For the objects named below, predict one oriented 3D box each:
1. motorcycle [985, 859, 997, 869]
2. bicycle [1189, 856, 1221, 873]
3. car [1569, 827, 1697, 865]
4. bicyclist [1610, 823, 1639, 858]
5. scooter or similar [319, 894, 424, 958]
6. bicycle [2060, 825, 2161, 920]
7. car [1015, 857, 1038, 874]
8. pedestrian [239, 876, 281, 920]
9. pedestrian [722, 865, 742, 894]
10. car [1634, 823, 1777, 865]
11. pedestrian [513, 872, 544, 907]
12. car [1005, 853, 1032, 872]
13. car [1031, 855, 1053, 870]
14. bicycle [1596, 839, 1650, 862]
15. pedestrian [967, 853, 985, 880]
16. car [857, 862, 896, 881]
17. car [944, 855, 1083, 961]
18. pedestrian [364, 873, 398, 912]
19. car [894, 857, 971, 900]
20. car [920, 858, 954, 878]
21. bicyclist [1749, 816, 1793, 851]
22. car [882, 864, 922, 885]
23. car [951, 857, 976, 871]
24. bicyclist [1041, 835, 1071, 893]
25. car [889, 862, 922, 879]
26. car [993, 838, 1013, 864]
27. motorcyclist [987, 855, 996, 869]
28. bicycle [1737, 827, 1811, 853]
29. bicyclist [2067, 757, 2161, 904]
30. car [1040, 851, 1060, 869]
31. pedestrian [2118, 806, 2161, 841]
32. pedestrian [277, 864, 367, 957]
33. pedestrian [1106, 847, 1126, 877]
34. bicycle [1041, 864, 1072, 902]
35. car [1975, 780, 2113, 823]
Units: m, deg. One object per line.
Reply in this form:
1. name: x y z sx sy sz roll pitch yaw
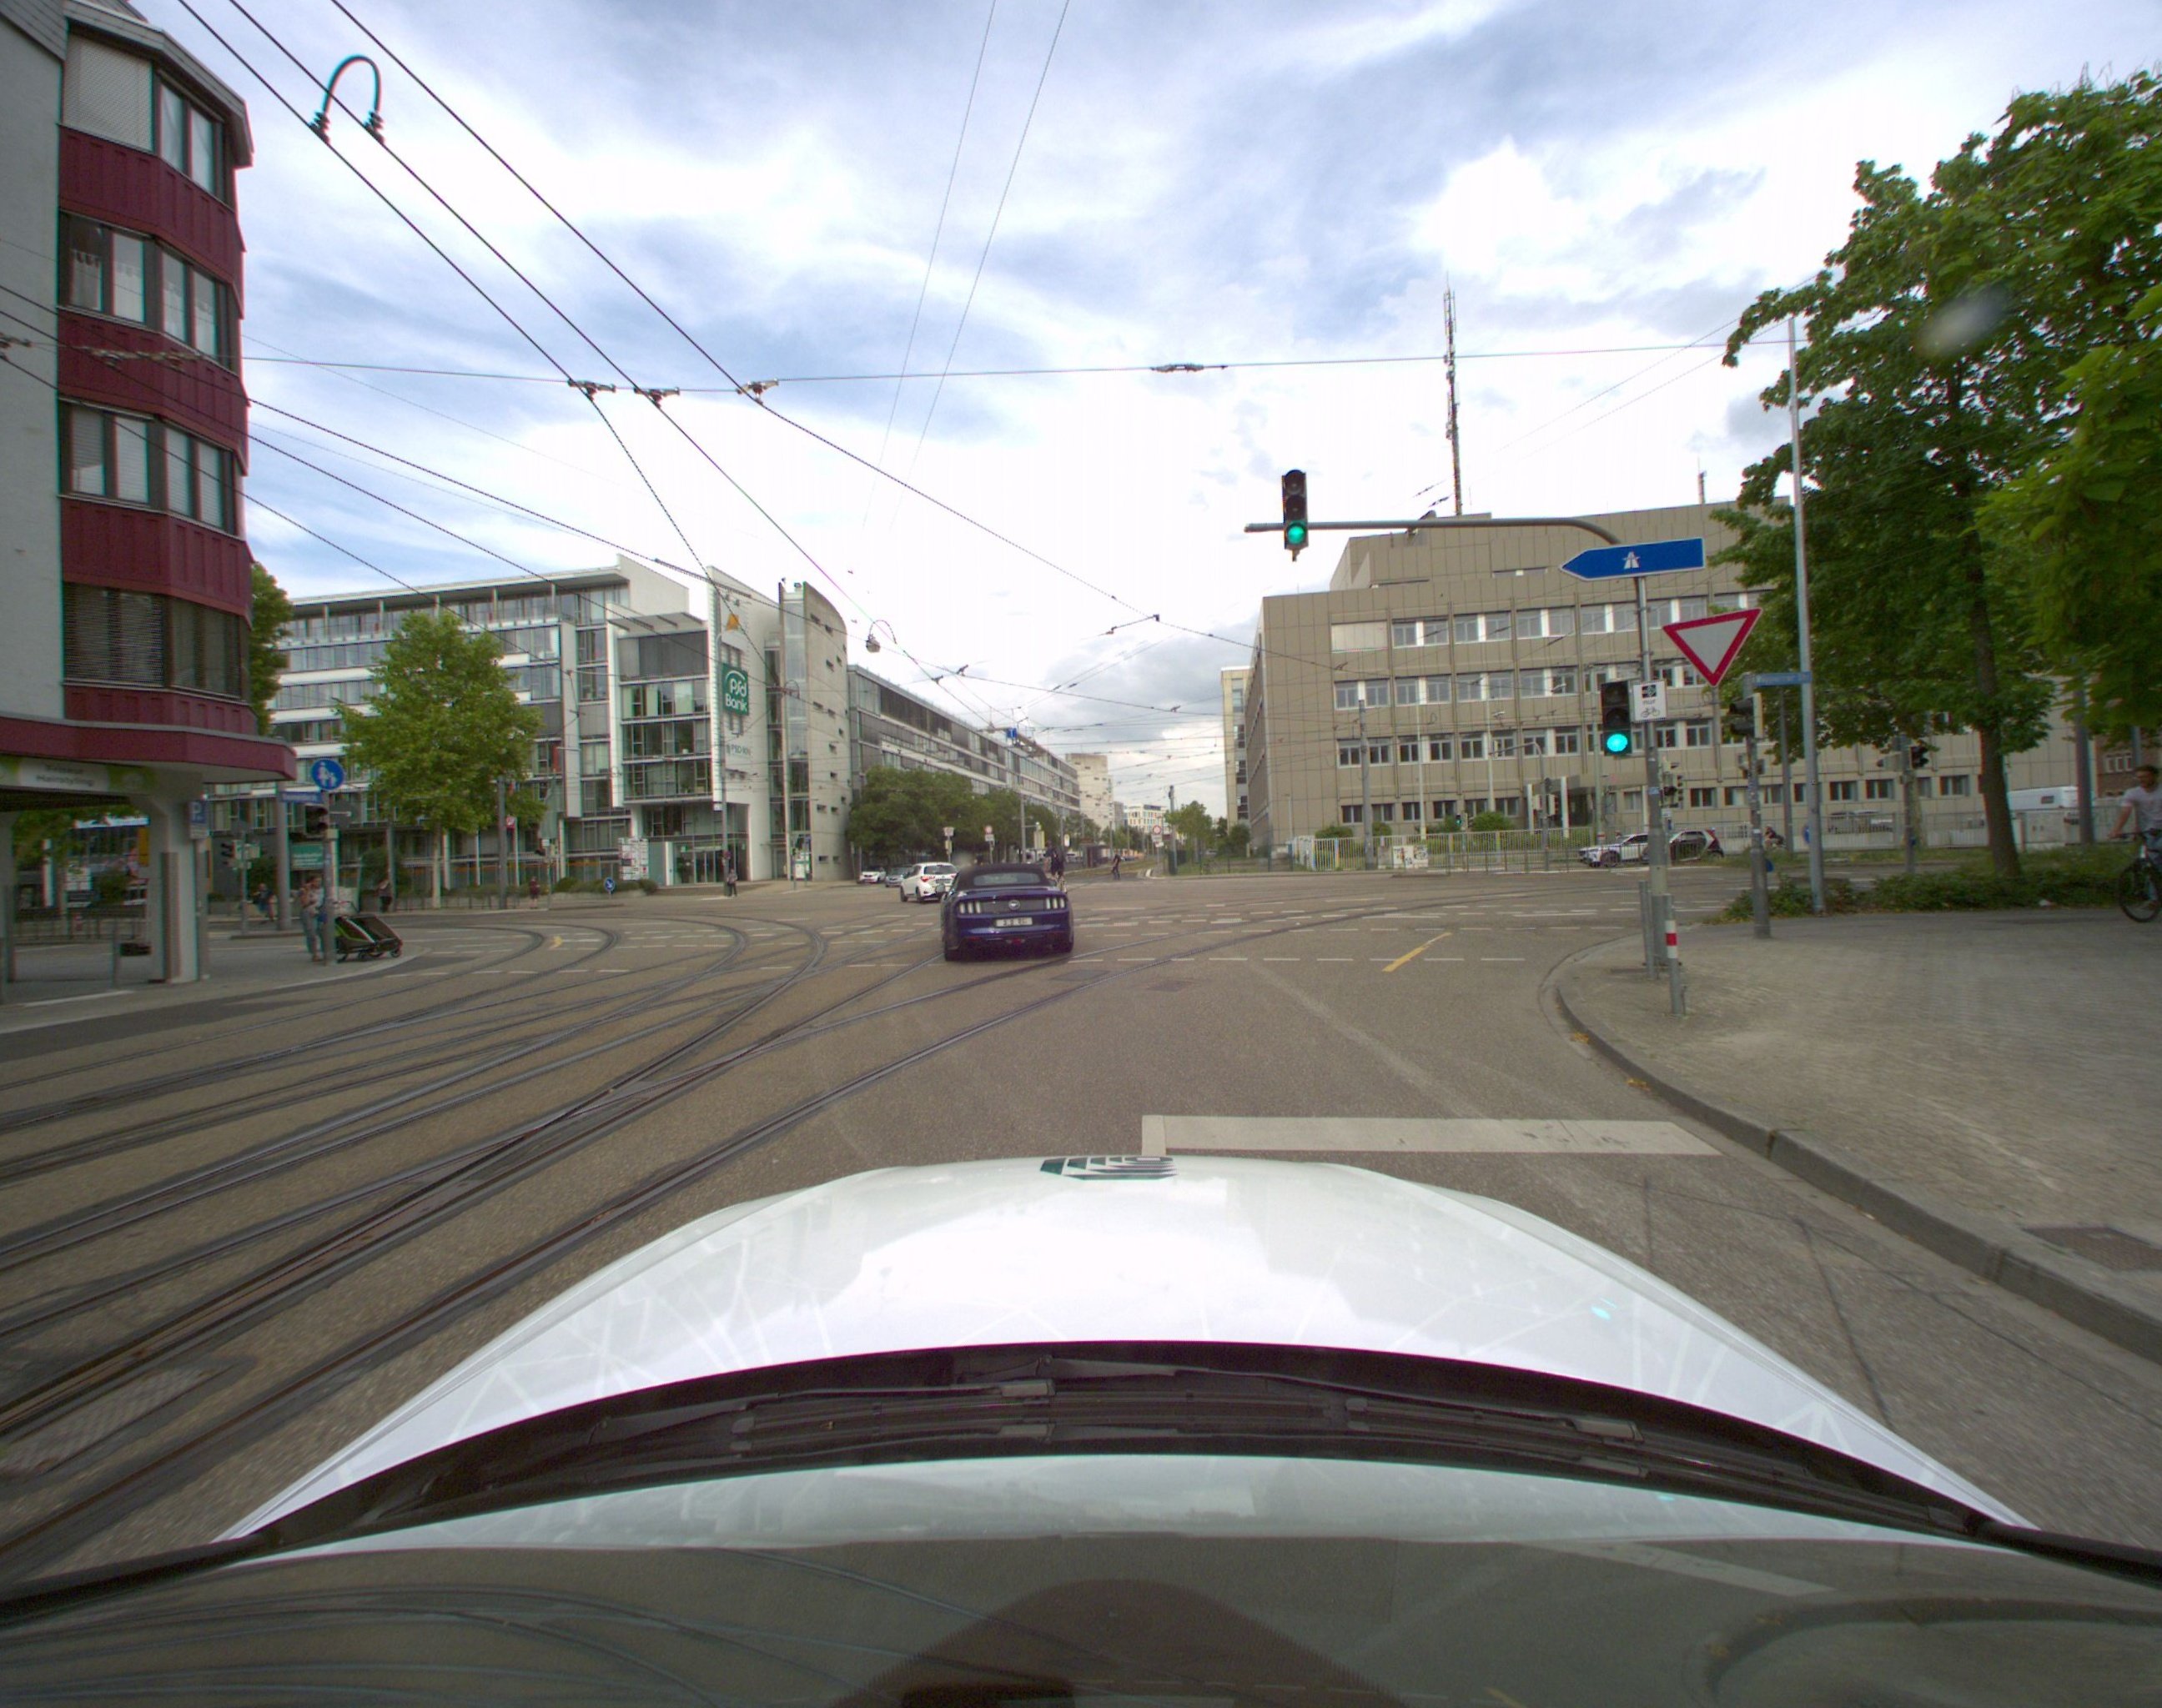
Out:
1. motorcycle: -10.982 1.187 99.781 0.820 1.200 2.508 -1 0 9
2. bicycle: 7.945 0.680 52.167 0.637 0.981 2.134 -2 -3 -37
3. car: 25.117 -0.352 37.200 4.378 1.504 2.006 -2 0 10
4. bicyclist: 26.688 -0.662 39.990 1.167 1.701 0.808 -1 0 35
5. scooter or similar: -13.866 1.395 15.953 1.191 1.128 0.947 -1 0 2
6. bicycle: 13.507 0.199 10.279 2.016 1.086 0.746 -3 -2 -19
7. car: -5.511 1.148 83.280 1.697 1.605 4.084 -2 0 4
8. pedestrian: -36.876 1.977 36.571 0.797 1.899 1.006 -2 0 12
9. pedestrian: -22.965 1.652 53.641 0.827 1.865 0.769 -2 0 17
10. car: 26.039 -0.403 34.116 4.375 1.566 1.844 -2 0 13
11. pedestrian: -27.115 1.736 39.976 0.928 1.671 0.769 -2 0 16
12. car: -5.938 0.787 77.680 1.871 1.628 4.092 -2 0 4
13. car: -4.373 0.915 91.152 1.859 1.605 4.218 -2 0 4
14. bicycle: 26.633 -0.178 40.033 2.156 1.086 0.808 -1 0 35
15. pedestrian: -7.406 0.882 57.497 0.982 1.855 0.905 -2 0 11
16. car: -18.116 1.553 72.220 1.819 1.556 4.227 0 0 8
17. car: -1.239 0.724 13.157 1.876 1.404 4.268 -1 0 -9
18. pedestrian: -34.376 1.878 40.000 0.839 1.855 0.841 -2 0 2
19. car: -5.786 0.913 31.366 1.845 1.439 4.151 -2 0 -26
20. car: -12.579 1.241 71.472 1.705 1.660 4.143 0 0 8
21. bicyclist: 32.218 -0.945 38.037 1.315 1.550 0.806 -2 0 12
22. car: -13.957 1.593 63.810 1.658 1.506 4.245 0 0 8
23. car: -14.032 1.217 97.426 1.976 1.556 4.520 0 0 6
24. bicyclist: -0.801 0.320 25.982 0.793 1.785 1.234 -2 0 2
25. car: -17.066 1.600 79.390 1.819 1.556 4.227 0 0 8
26. car: -11.071 -0.362 116.311 1.976 3.636 4.520 0 0 6
27. motorcyclist: -10.979 0.978 99.795 0.814 1.616 0.884 -1 0 8
28. bicycle: 32.329 -0.631 38.008 2.537 1.086 0.806 -2 0 12
29. bicyclist: 13.415 -0.295 10.274 1.252 1.761 0.743 -3 -2 -19
30. car: -3.618 0.661 96.305 1.777 1.987 4.126 -2 0 4
31. pedestrian: 50.599 -1.449 38.877 0.970 1.569 0.887 -2 0 15
32. pedestrian: -14.846 1.083 15.945 0.944 1.743 0.812 -2 0 1
33. pedestrian: 2.302 0.529 53.246 1.078 1.898 0.905 -2 0 13
34. bicycle: -0.765 0.899 25.961 0.797 1.086 2.133 -2 0 3
35. car: 64.053 -3.426 54.392 2.547 2.399 5.910 -2 0 6
